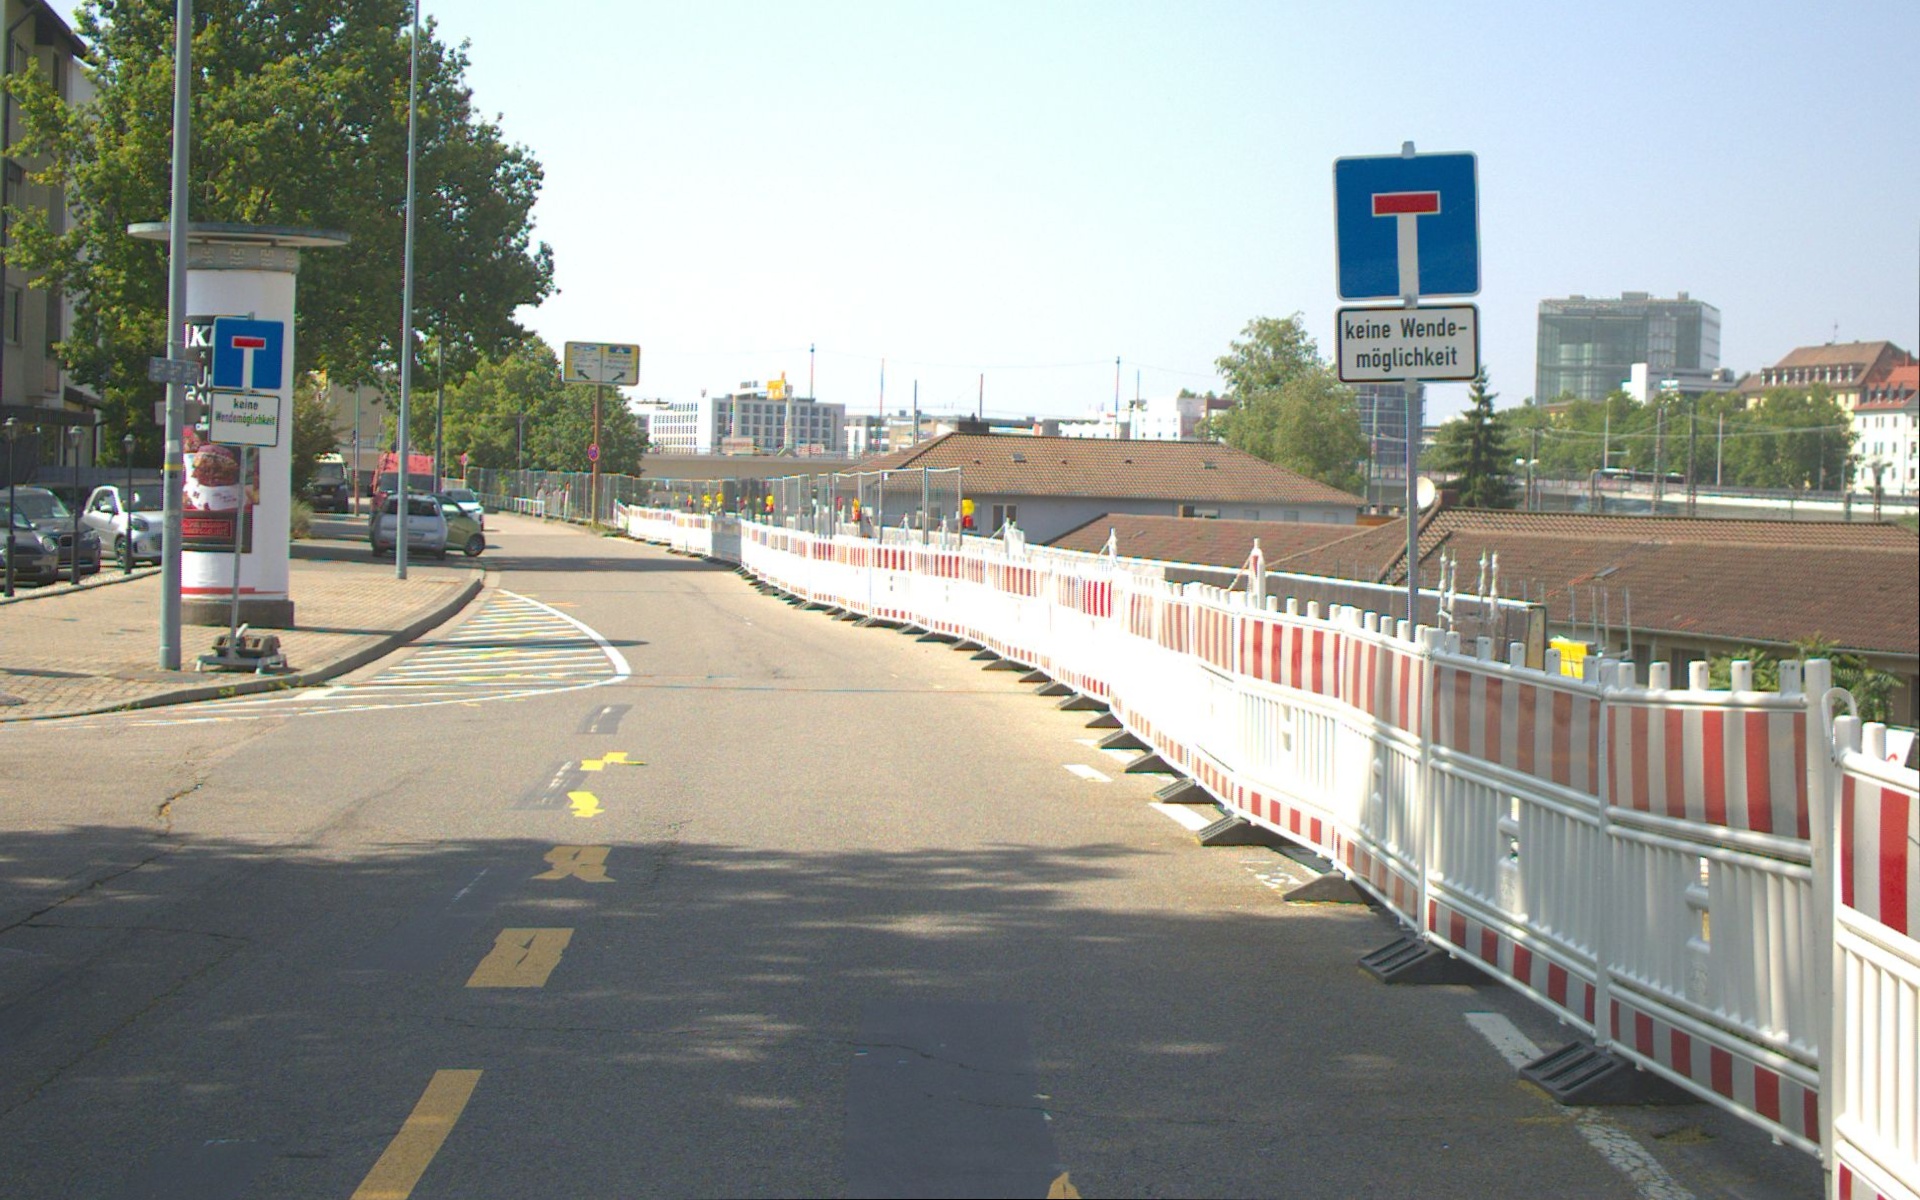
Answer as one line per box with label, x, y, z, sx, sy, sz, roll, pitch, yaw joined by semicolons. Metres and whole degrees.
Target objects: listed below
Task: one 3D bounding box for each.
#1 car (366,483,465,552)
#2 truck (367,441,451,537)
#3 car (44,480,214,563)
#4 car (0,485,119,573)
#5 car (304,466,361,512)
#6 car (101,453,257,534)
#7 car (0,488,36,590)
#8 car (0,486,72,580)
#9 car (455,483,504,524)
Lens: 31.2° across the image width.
car;-12.631;-1.934;79.892;1.869;1.493;4.032;1;3;-3
truck;-15.846;-3.169;99.087;2.237;2.639;5.683;1;1;-8
car;-15.518;-1.479;64.088;1.776;1.468;4.000;-2;3;-34
car;-16.305;-1.264;60.351;1.667;1.468;4.000;-3;3;-34
car;-28.355;-5.007;155.427;1.936;1.828;3.925;5;0;-4
car;-20.735;-2.827;91.267;3.921;1.952;1.760;2;1;-13
car;-15.371;-0.919;51.336;1.667;1.468;3.999;-3;3;-36
car;-15.968;-1.102;55.971;1.667;1.468;4.000;-2;3;-34
car;-17.574;-3.522;125.655;1.716;1.411;4.079;1;1;-8
